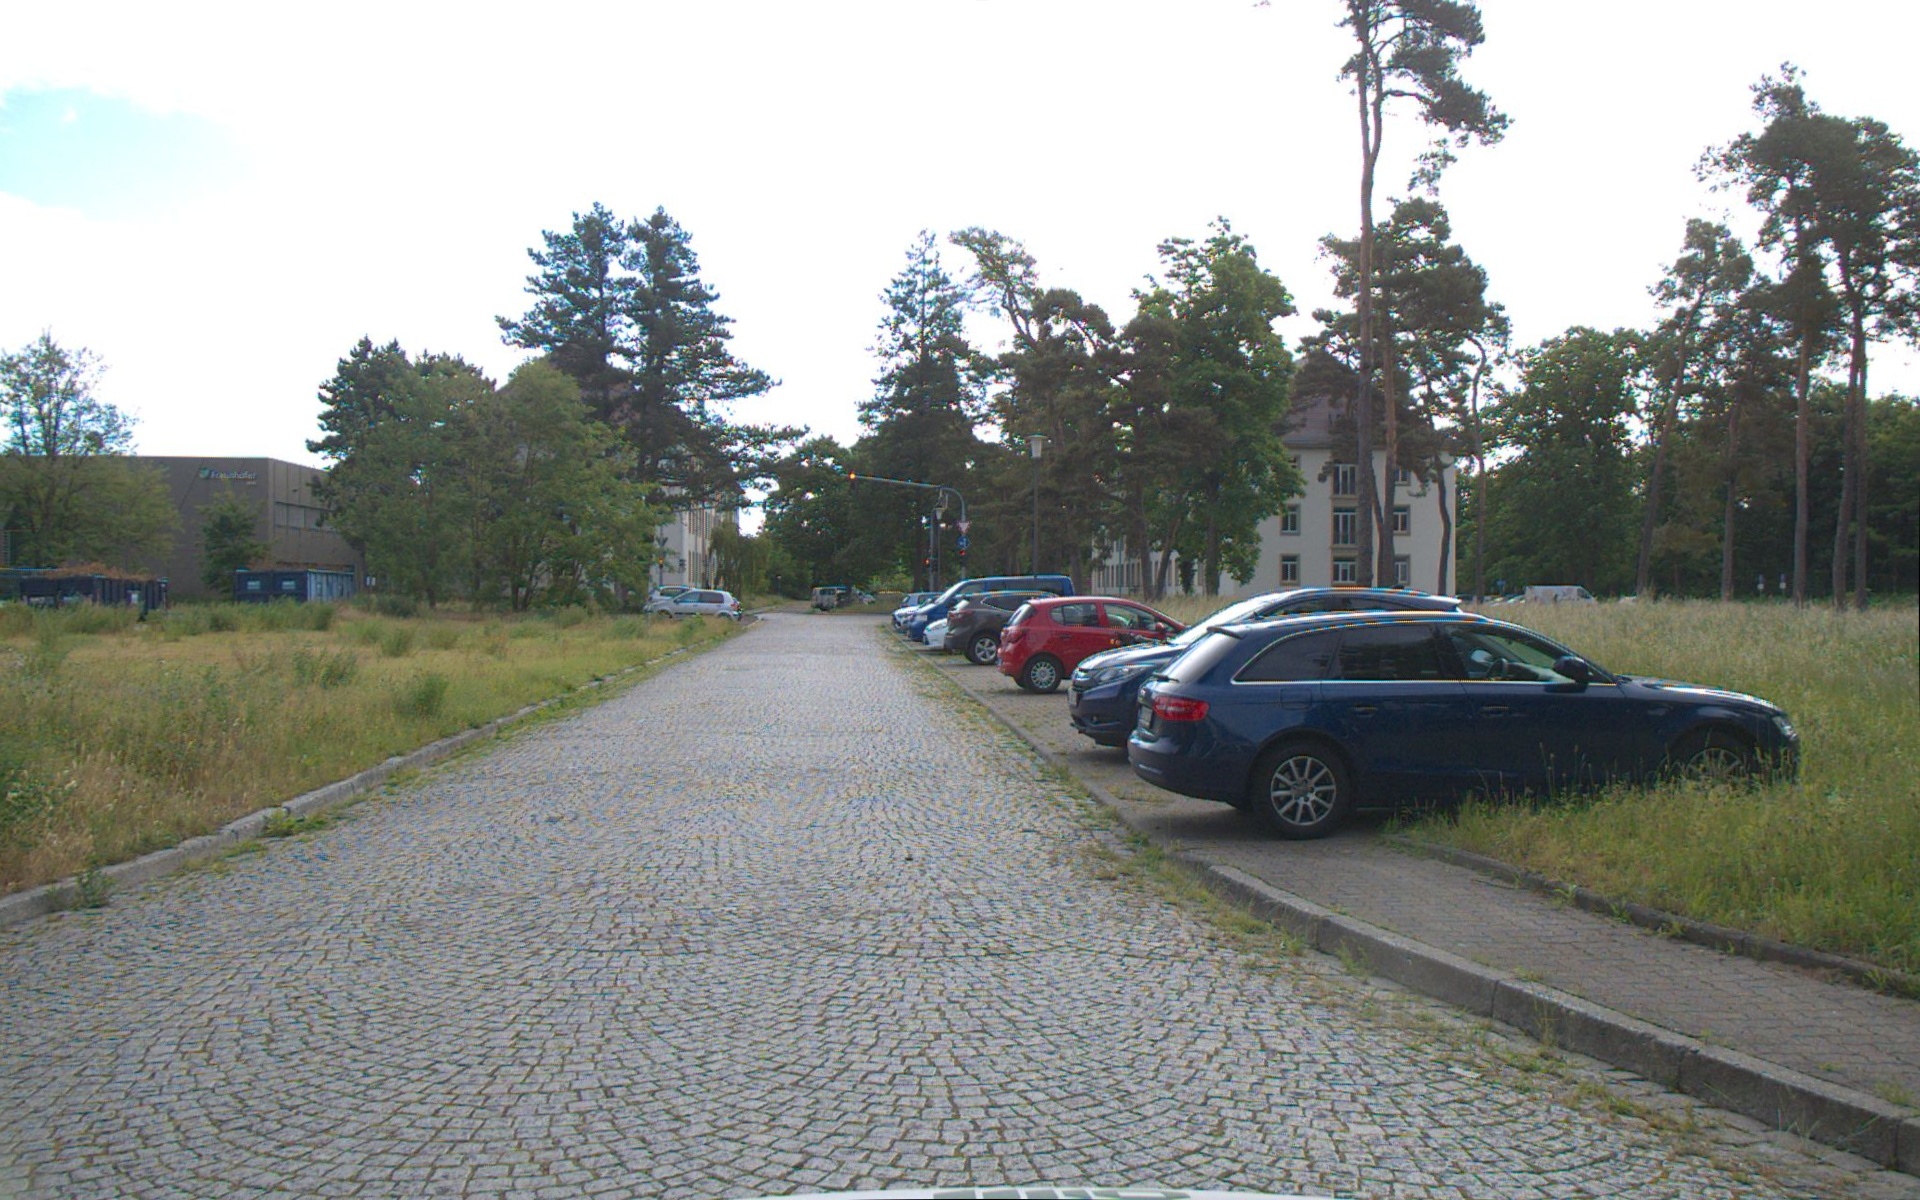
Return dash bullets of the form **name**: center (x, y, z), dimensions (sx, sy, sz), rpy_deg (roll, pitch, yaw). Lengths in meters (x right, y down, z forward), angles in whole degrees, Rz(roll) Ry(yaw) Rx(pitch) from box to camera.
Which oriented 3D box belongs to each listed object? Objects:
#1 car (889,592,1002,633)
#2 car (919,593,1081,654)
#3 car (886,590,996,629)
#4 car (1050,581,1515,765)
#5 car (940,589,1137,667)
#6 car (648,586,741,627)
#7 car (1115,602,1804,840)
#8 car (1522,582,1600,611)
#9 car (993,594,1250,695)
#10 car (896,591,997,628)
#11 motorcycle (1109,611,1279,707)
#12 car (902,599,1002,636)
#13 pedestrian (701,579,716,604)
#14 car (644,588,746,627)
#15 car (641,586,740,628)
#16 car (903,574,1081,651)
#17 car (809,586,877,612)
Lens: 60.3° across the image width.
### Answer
- **car**: center (-0.584, 0.469, 64.130), dimensions (4.111, 1.462, 1.750), rpy_deg (-1, 0, -12)
- **car**: center (1.030, 0.600, 43.256), dimensions (4.020, 1.504, 1.719), rpy_deg (-1, 0, -8)
- **car**: center (-0.778, 0.373, 66.888), dimensions (4.159, 1.505, 1.703), rpy_deg (-1, 0, -15)
- **car**: center (3.096, 0.666, 16.393), dimensions (4.163, 1.651, 1.884), rpy_deg (-1, 0, -6)
- **car**: center (1.716, 0.592, 36.940), dimensions (4.123, 1.623, 1.950), rpy_deg (-1, 0, -7)
- **car**: center (-10.824, 0.261, 67.668), dimensions (3.650, 1.506, 1.670), rpy_deg (2, 0, -8)
- **car**: center (3.349, 0.780, 11.681), dimensions (4.269, 1.464, 1.926), rpy_deg (-1, 0, -3)
- **car**: center (46.012, -0.295, 126.604), dimensions (5.196, 2.055, 2.104), rpy_deg (2, 0, -4)
- **car**: center (2.559, 0.687, 26.679), dimensions (3.848, 1.522, 1.782), rpy_deg (-1, 0, -6)
- **car**: center (-0.576, 0.382, 69.465), dimensions (4.060, 1.489, 1.630), rpy_deg (-1, 0, -10)
- **motorcycle**: center (3.138, 0.780, 22.222), dimensions (2.187, 1.223, 0.567), rpy_deg (-1, 0, -7)
- **car**: center (-0.313, 0.629, 59.437), dimensions (3.515, 1.244, 1.627), rpy_deg (-1, 0, -3)
- **pedestrian**: center (-20.179, -0.686, 132.606), dimensions (1.053, 1.993, 1.120), rpy_deg (2, 0, -4)
- **car**: center (-11.250, 0.315, 70.236), dimensions (4.220, 1.581, 1.807), rpy_deg (-1, 0, -11)
- **car**: center (-11.887, 0.307, 72.995), dimensions (4.219, 1.762, 1.649), rpy_deg (-1, 0, -10)
- **car**: center (0.858, 0.326, 45.792), dimensions (4.704, 2.039, 1.963), rpy_deg (-1, 0, -7)
- **car**: center (-9.623, -0.093, 135.799), dimensions (5.290, 2.138, 2.168), rpy_deg (0, 0, -17)
